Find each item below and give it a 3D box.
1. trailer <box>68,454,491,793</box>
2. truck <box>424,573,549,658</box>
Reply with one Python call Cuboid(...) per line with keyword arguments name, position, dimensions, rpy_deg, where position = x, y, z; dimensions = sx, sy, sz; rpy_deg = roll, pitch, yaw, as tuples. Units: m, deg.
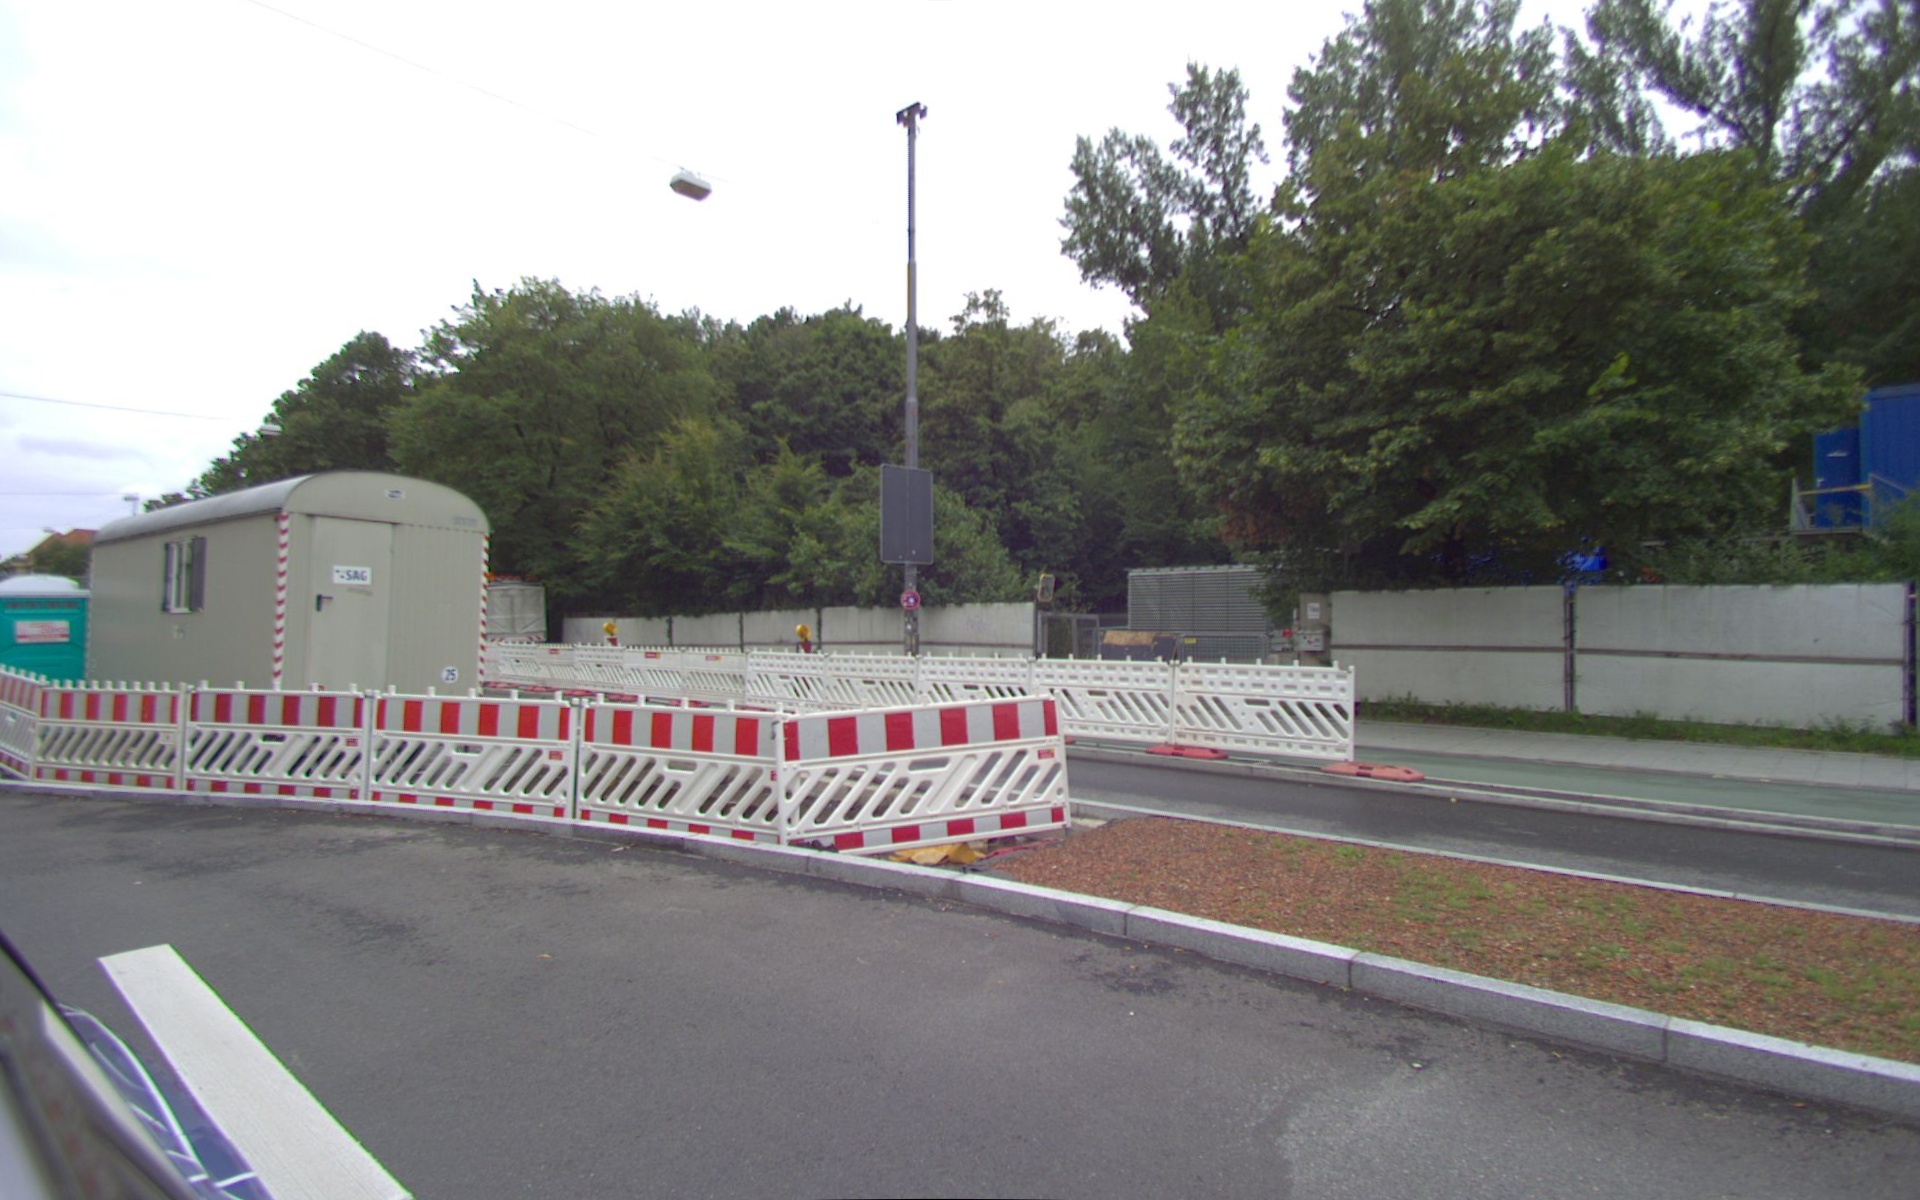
Cuboid(name="trailer", position=(-8.979, 0.338, 12.927), dimensions=(7.507, 3.268, 2.206), rpy_deg=(-2, -3, 38))
Cuboid(name="truck", position=(-16.779, 0.608, 35.717), dimensions=(5.870, 2.749, 1.972), rpy_deg=(-2, -2, 43))
